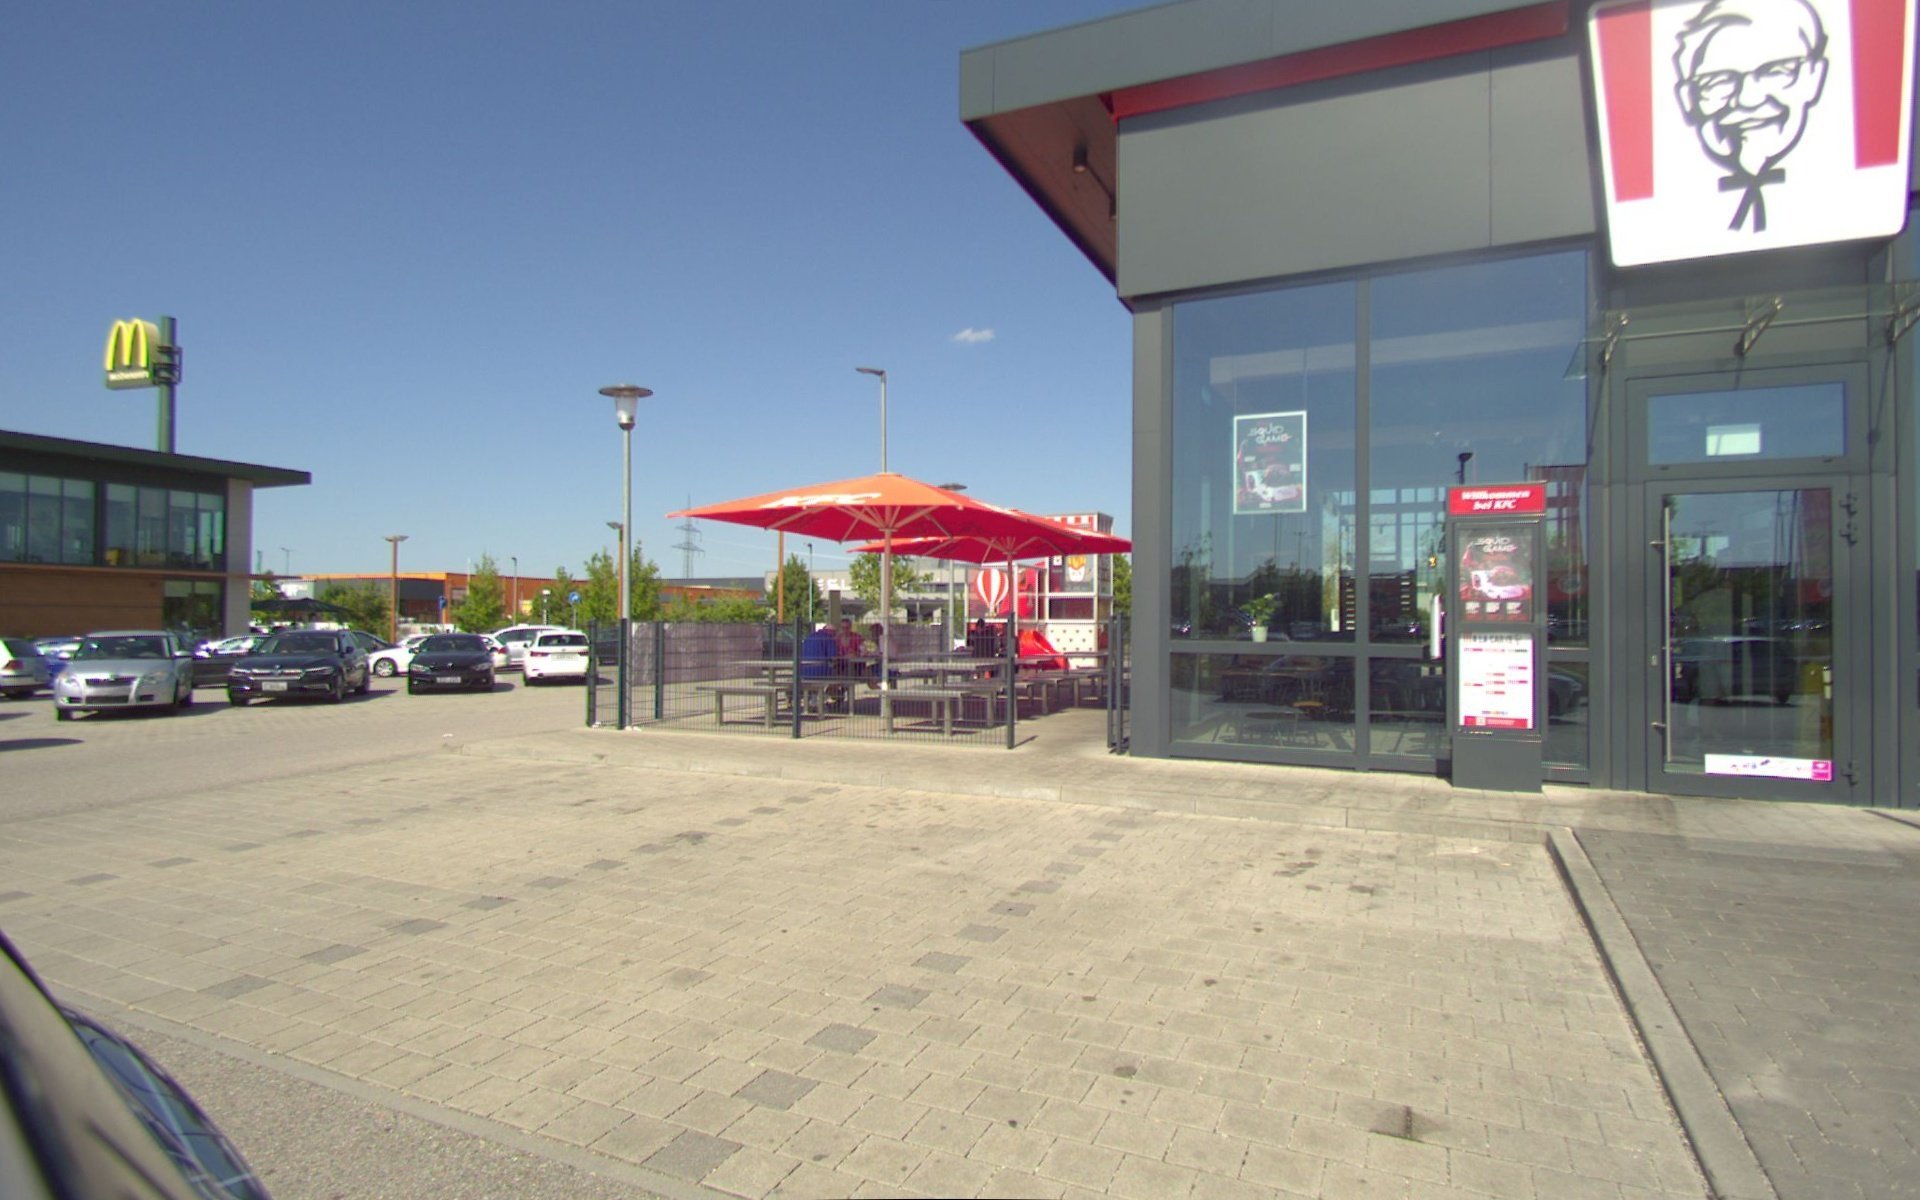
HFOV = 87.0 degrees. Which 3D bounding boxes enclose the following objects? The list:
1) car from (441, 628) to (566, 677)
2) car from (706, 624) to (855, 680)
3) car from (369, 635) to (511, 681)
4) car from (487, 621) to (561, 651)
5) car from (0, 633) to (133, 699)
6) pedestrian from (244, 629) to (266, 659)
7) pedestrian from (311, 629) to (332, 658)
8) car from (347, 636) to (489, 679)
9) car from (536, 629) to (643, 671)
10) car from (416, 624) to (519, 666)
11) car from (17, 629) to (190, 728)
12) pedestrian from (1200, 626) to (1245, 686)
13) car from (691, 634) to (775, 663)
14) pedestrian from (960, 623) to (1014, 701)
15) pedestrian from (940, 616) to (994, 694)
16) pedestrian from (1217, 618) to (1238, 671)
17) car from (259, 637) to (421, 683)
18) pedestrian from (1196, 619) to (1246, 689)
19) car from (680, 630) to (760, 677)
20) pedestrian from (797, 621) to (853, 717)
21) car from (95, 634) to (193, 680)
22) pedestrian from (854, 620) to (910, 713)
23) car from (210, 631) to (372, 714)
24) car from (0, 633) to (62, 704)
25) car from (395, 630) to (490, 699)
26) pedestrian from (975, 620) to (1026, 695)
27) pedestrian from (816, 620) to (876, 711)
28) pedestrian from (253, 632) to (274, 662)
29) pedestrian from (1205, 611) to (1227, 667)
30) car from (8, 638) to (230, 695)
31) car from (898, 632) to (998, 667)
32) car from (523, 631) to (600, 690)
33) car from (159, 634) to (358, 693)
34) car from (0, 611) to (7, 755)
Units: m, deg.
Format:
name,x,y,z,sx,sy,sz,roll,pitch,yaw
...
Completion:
name,x,y,z,sx,sy,sz,roll,pitch,yaw
car,-16.720,1.888,37.299,4.044,1.687,1.819,0,-2,-19
car,-5.457,1.559,30.656,4.229,1.603,1.863,1,-2,-18
car,-17.442,1.916,34.160,4.044,1.424,1.819,0,-2,-19
car,-23.894,1.964,55.461,3.867,1.573,1.746,-2,-2,29
car,-22.878,1.581,24.476,4.044,1.527,1.819,0,-2,-19
pedestrian,-36.980,2.292,53.091,0.691,1.571,0.722,-1,-2,-3
pedestrian,-34.538,2.362,54.752,0.718,1.571,0.695,-1,-2,26
car,-20.788,2.186,39.044,4.565,1.498,1.902,0,-2,-19
car,-14.886,1.988,40.674,3.930,1.564,1.760,0,-2,-22
car,-21.941,2.017,45.222,3.892,1.788,1.658,0,-2,-14
car,-15.175,1.318,18.165,1.942,1.538,4.217,1,-3,-35
pedestrian,5.407,1.143,20.836,0.751,1.209,0.688,-2,-2,26
car,-12.344,2.627,55.119,4.310,1.490,1.826,-1,-2,27
pedestrian,0.475,1.072,17.590,0.664,1.314,0.704,-2,-3,34
pedestrian,0.131,1.008,18.661,0.664,1.398,0.798,-2,-3,34
pedestrian,9.104,1.515,34.454,0.523,1.787,0.532,-2,-3,31
car,-21.772,2.079,35.755,4.565,1.498,1.902,0,-2,-19
pedestrian,5.103,1.046,19.748,0.751,1.322,0.936,-2,-2,26
car,-8.100,1.759,33.896,1.941,1.471,4.220,0,-2,-22
pedestrian,-1.851,0.937,13.882,0.607,1.283,0.622,-1,-2,9
car,-30.684,2.123,38.185,1.687,1.625,4.049,0,-2,-21
pedestrian,-1.095,0.933,14.352,0.678,1.283,0.549,-1,-2,9
car,-13.853,1.441,21.275,1.941,1.498,4.798,0,-2,-22
car,-22.608,1.509,22.166,4.044,1.504,1.717,0,-2,-19
car,-12.411,1.504,24.486,1.804,1.471,4.384,0,-2,-24
pedestrian,0.738,1.032,18.356,0.664,1.314,0.679,-2,-3,34
pedestrian,-1.652,0.951,14.760,0.678,1.283,0.839,-1,-2,9
pedestrian,-38.022,2.561,55.250,0.691,1.571,0.722,-1,-2,-3
pedestrian,8.373,1.275,33.118,0.523,1.787,0.532,-2,-3,31
car,-24.245,1.877,29.379,4.565,1.498,1.902,0,-2,-19
car,-0.588,2.386,49.092,4.545,1.605,1.829,-1,-2,22
car,-10.920,1.601,27.652,1.804,1.471,4.599,0,-2,-22
car,-19.346,1.723,28.133,4.206,1.498,1.819,0,-2,-19
car,-13.498,0.976,10.702,1.822,1.761,4.644,-1,-2,24
